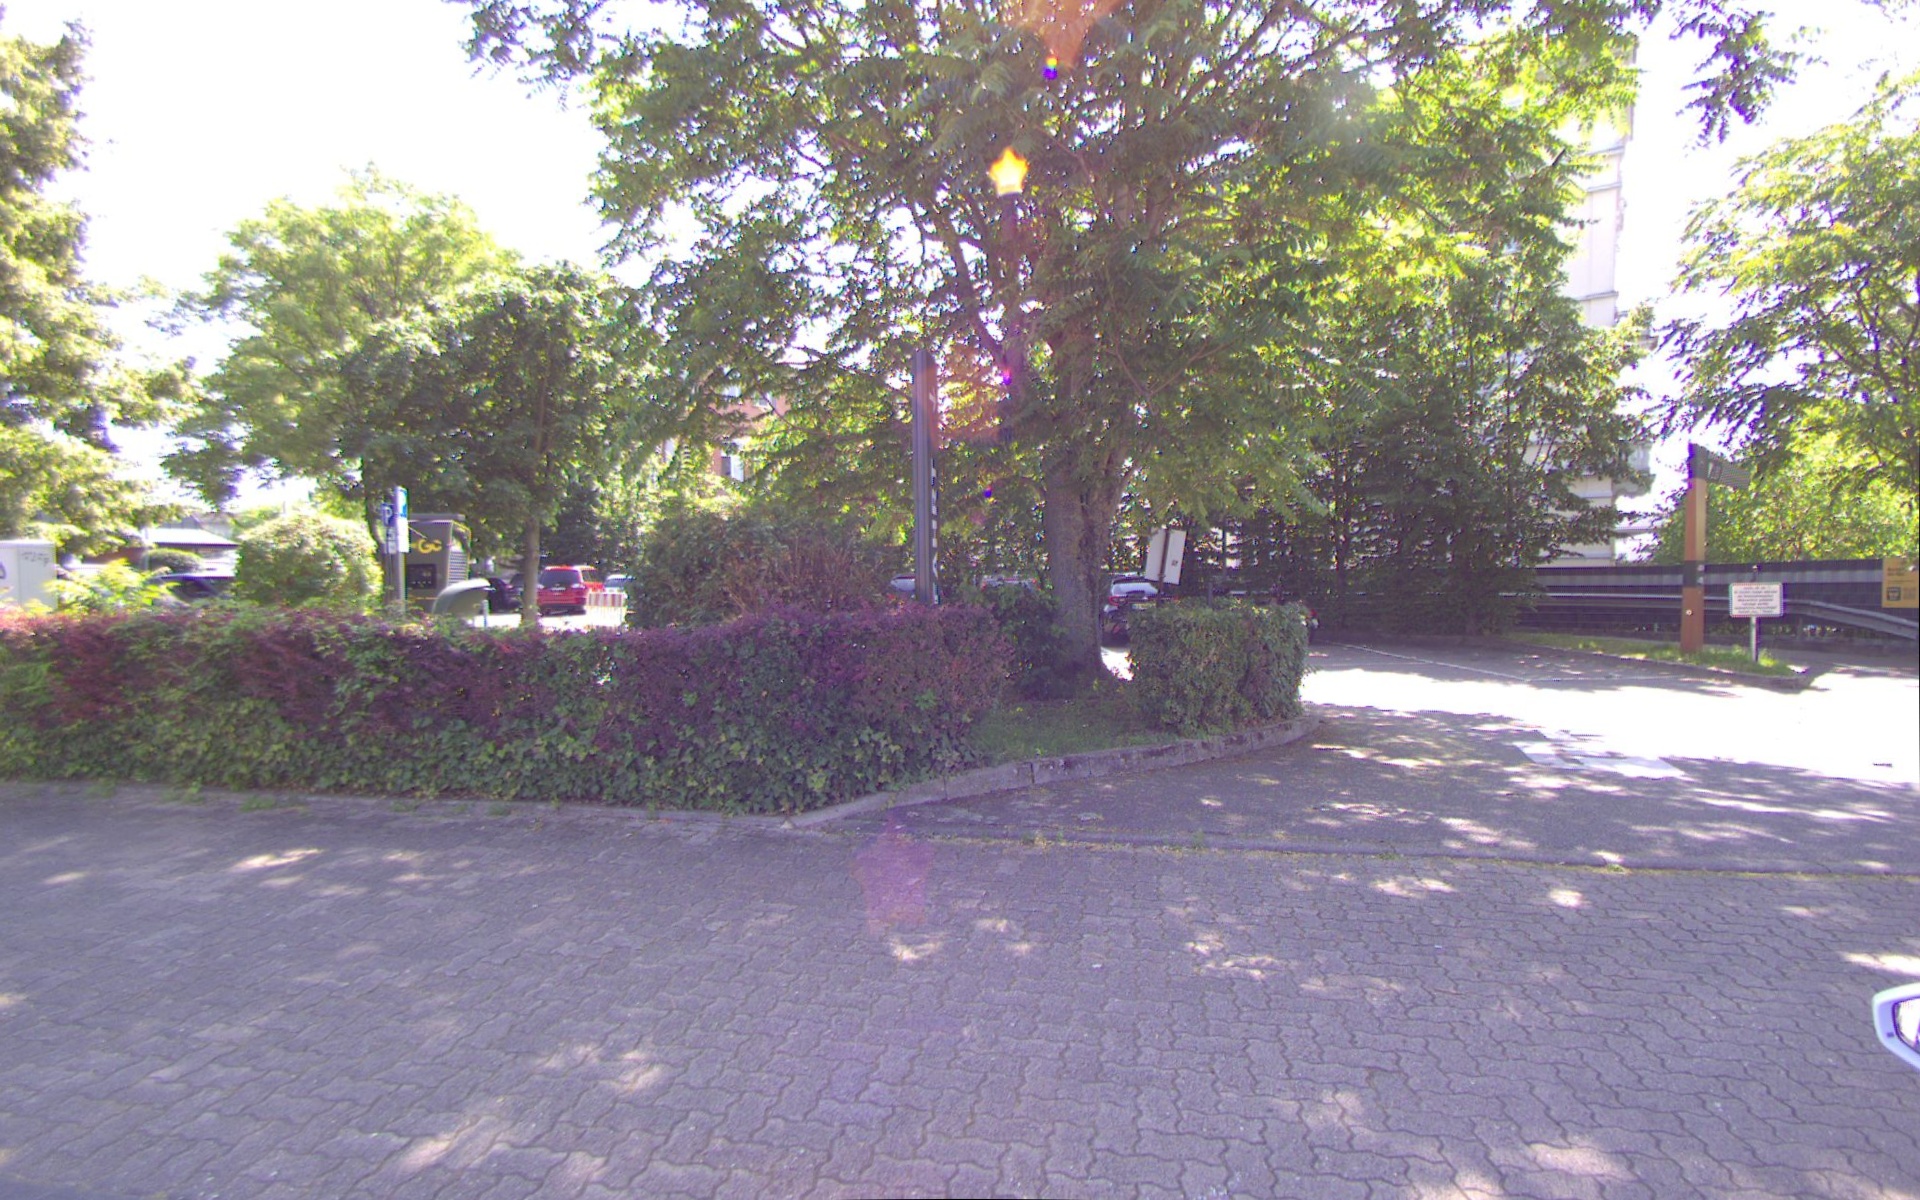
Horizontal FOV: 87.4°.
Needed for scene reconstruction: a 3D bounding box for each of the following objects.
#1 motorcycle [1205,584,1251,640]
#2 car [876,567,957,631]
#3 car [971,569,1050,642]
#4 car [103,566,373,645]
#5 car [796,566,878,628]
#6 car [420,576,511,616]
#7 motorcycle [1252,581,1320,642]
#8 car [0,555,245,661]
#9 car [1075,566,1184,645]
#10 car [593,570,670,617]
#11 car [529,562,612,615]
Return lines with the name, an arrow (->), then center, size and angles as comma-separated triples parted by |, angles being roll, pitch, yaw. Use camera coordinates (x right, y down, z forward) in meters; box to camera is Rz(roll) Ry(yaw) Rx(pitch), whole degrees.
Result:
motorcycle -> 5.796, 0.243, 21.796 | 0.466, 1.156, 1.604 | -1, 2, -5
car -> -1.089, -0.079, 26.982 | 1.738, 1.490, 4.000 | -1, 3, 3
car -> 1.133, 0.049, 23.523 | 1.671, 1.473, 3.999 | -1, 3, 1
car -> -14.212, 0.102, 19.884 | 4.278, 1.472, 1.863 | 0, 0, 10
car -> -3.444, -0.152, 28.795 | 1.739, 1.593, 4.000 | -1, 2, 2
car -> -18.938, -0.200, 38.673 | 1.740, 1.408, 3.997 | -1, 2, -4
motorcycle -> 6.709, 0.216, 20.725 | 0.560, 1.185, 1.600 | -1, 2, -15
car -> -15.125, 0.128, 17.489 | 4.278, 1.708, 1.863 | 0, 0, 10
car -> 3.628, 0.038, 22.094 | 1.628, 1.490, 3.902 | -1, 3, -2
car -> -11.578, -0.291, 35.605 | 1.741, 1.495, 3.995 | -1, 2, -6
car -> -14.469, -0.487, 37.535 | 1.740, 1.758, 3.996 | -3, 3, -5
